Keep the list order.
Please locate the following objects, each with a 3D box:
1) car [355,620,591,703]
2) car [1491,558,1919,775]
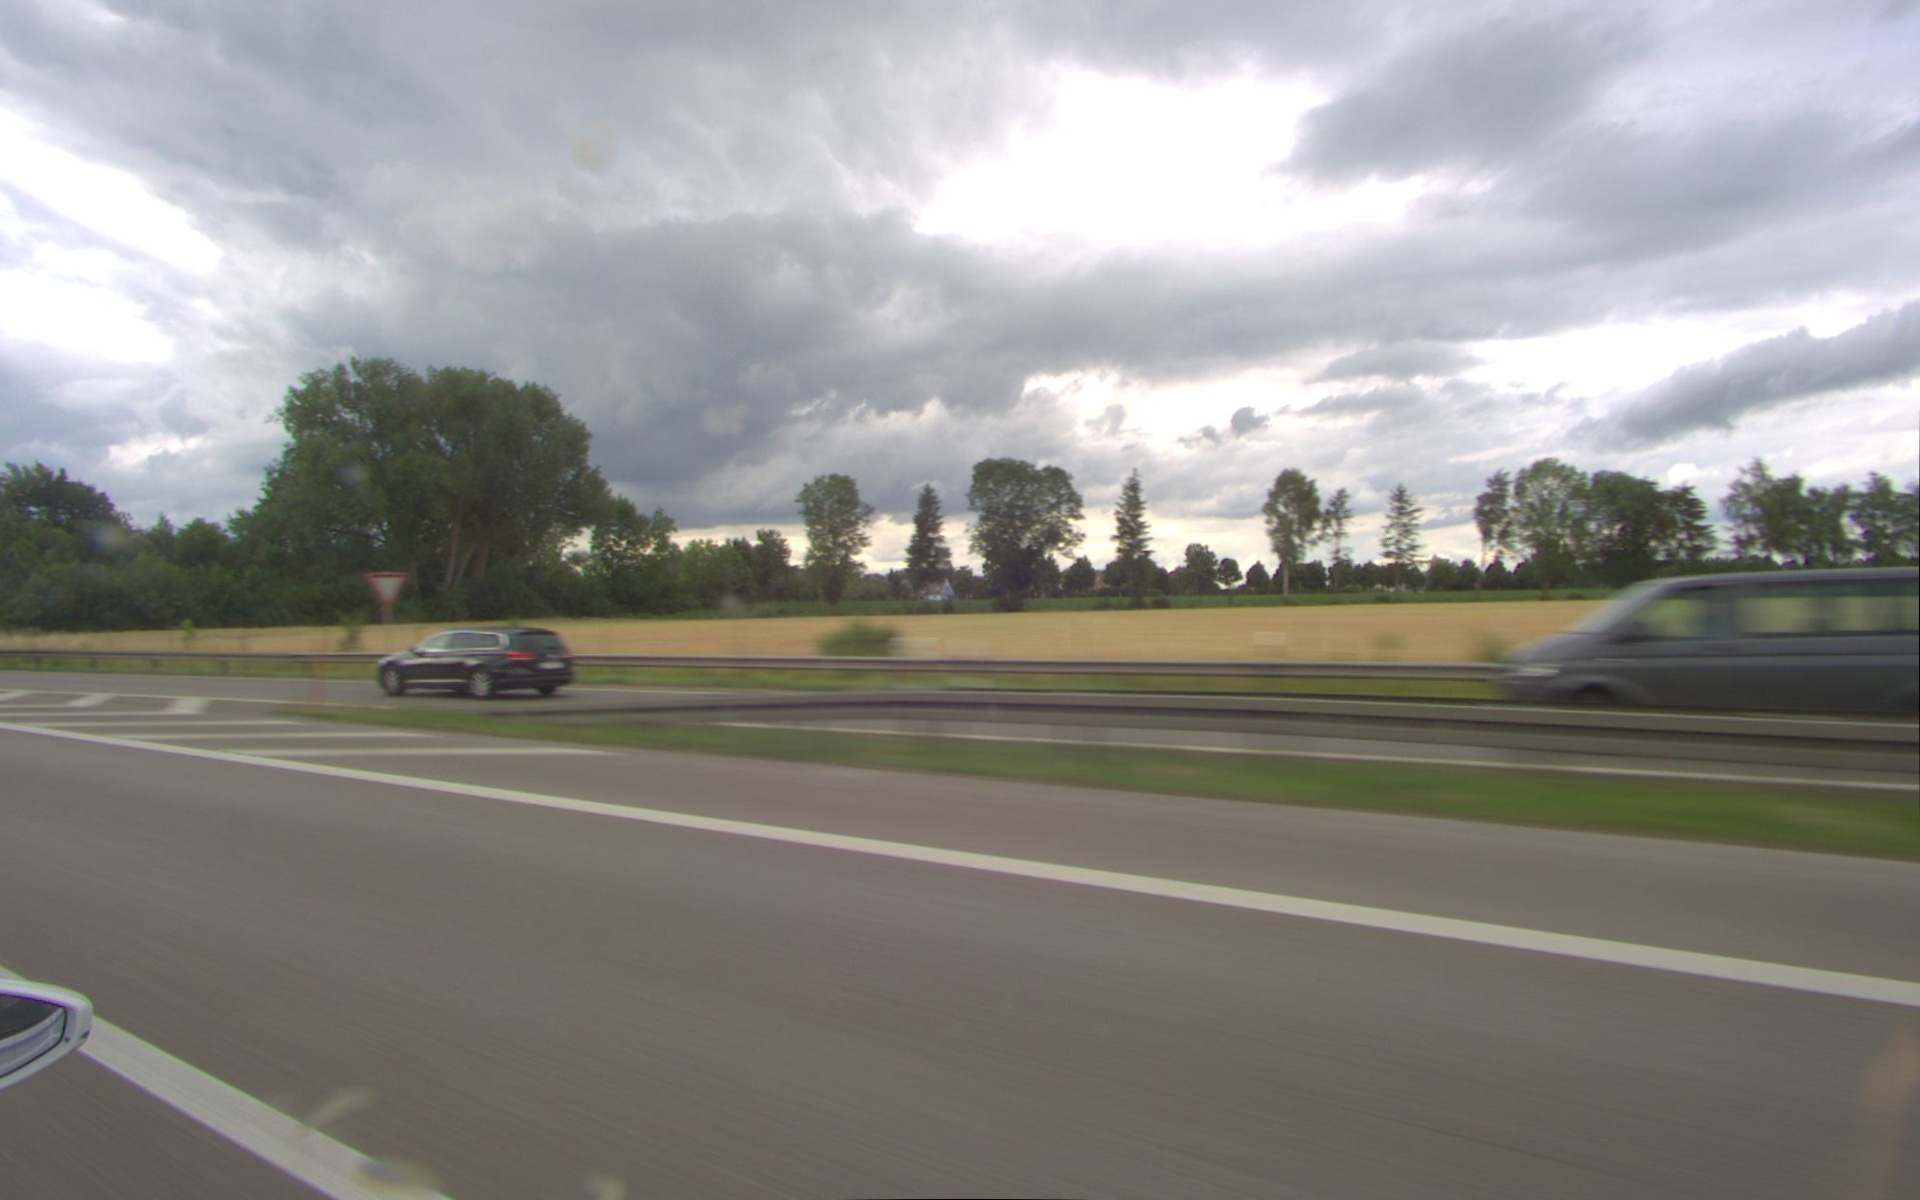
[{"bbox_3d":[-10.406,1.243,21.348,4.844,1.571,1.917,-1,0,26],"label":"car"},{"bbox_3d":[8.691,0.672,11.129,4.880,2.089,2.143,-1,-1,28],"label":"car"}]
